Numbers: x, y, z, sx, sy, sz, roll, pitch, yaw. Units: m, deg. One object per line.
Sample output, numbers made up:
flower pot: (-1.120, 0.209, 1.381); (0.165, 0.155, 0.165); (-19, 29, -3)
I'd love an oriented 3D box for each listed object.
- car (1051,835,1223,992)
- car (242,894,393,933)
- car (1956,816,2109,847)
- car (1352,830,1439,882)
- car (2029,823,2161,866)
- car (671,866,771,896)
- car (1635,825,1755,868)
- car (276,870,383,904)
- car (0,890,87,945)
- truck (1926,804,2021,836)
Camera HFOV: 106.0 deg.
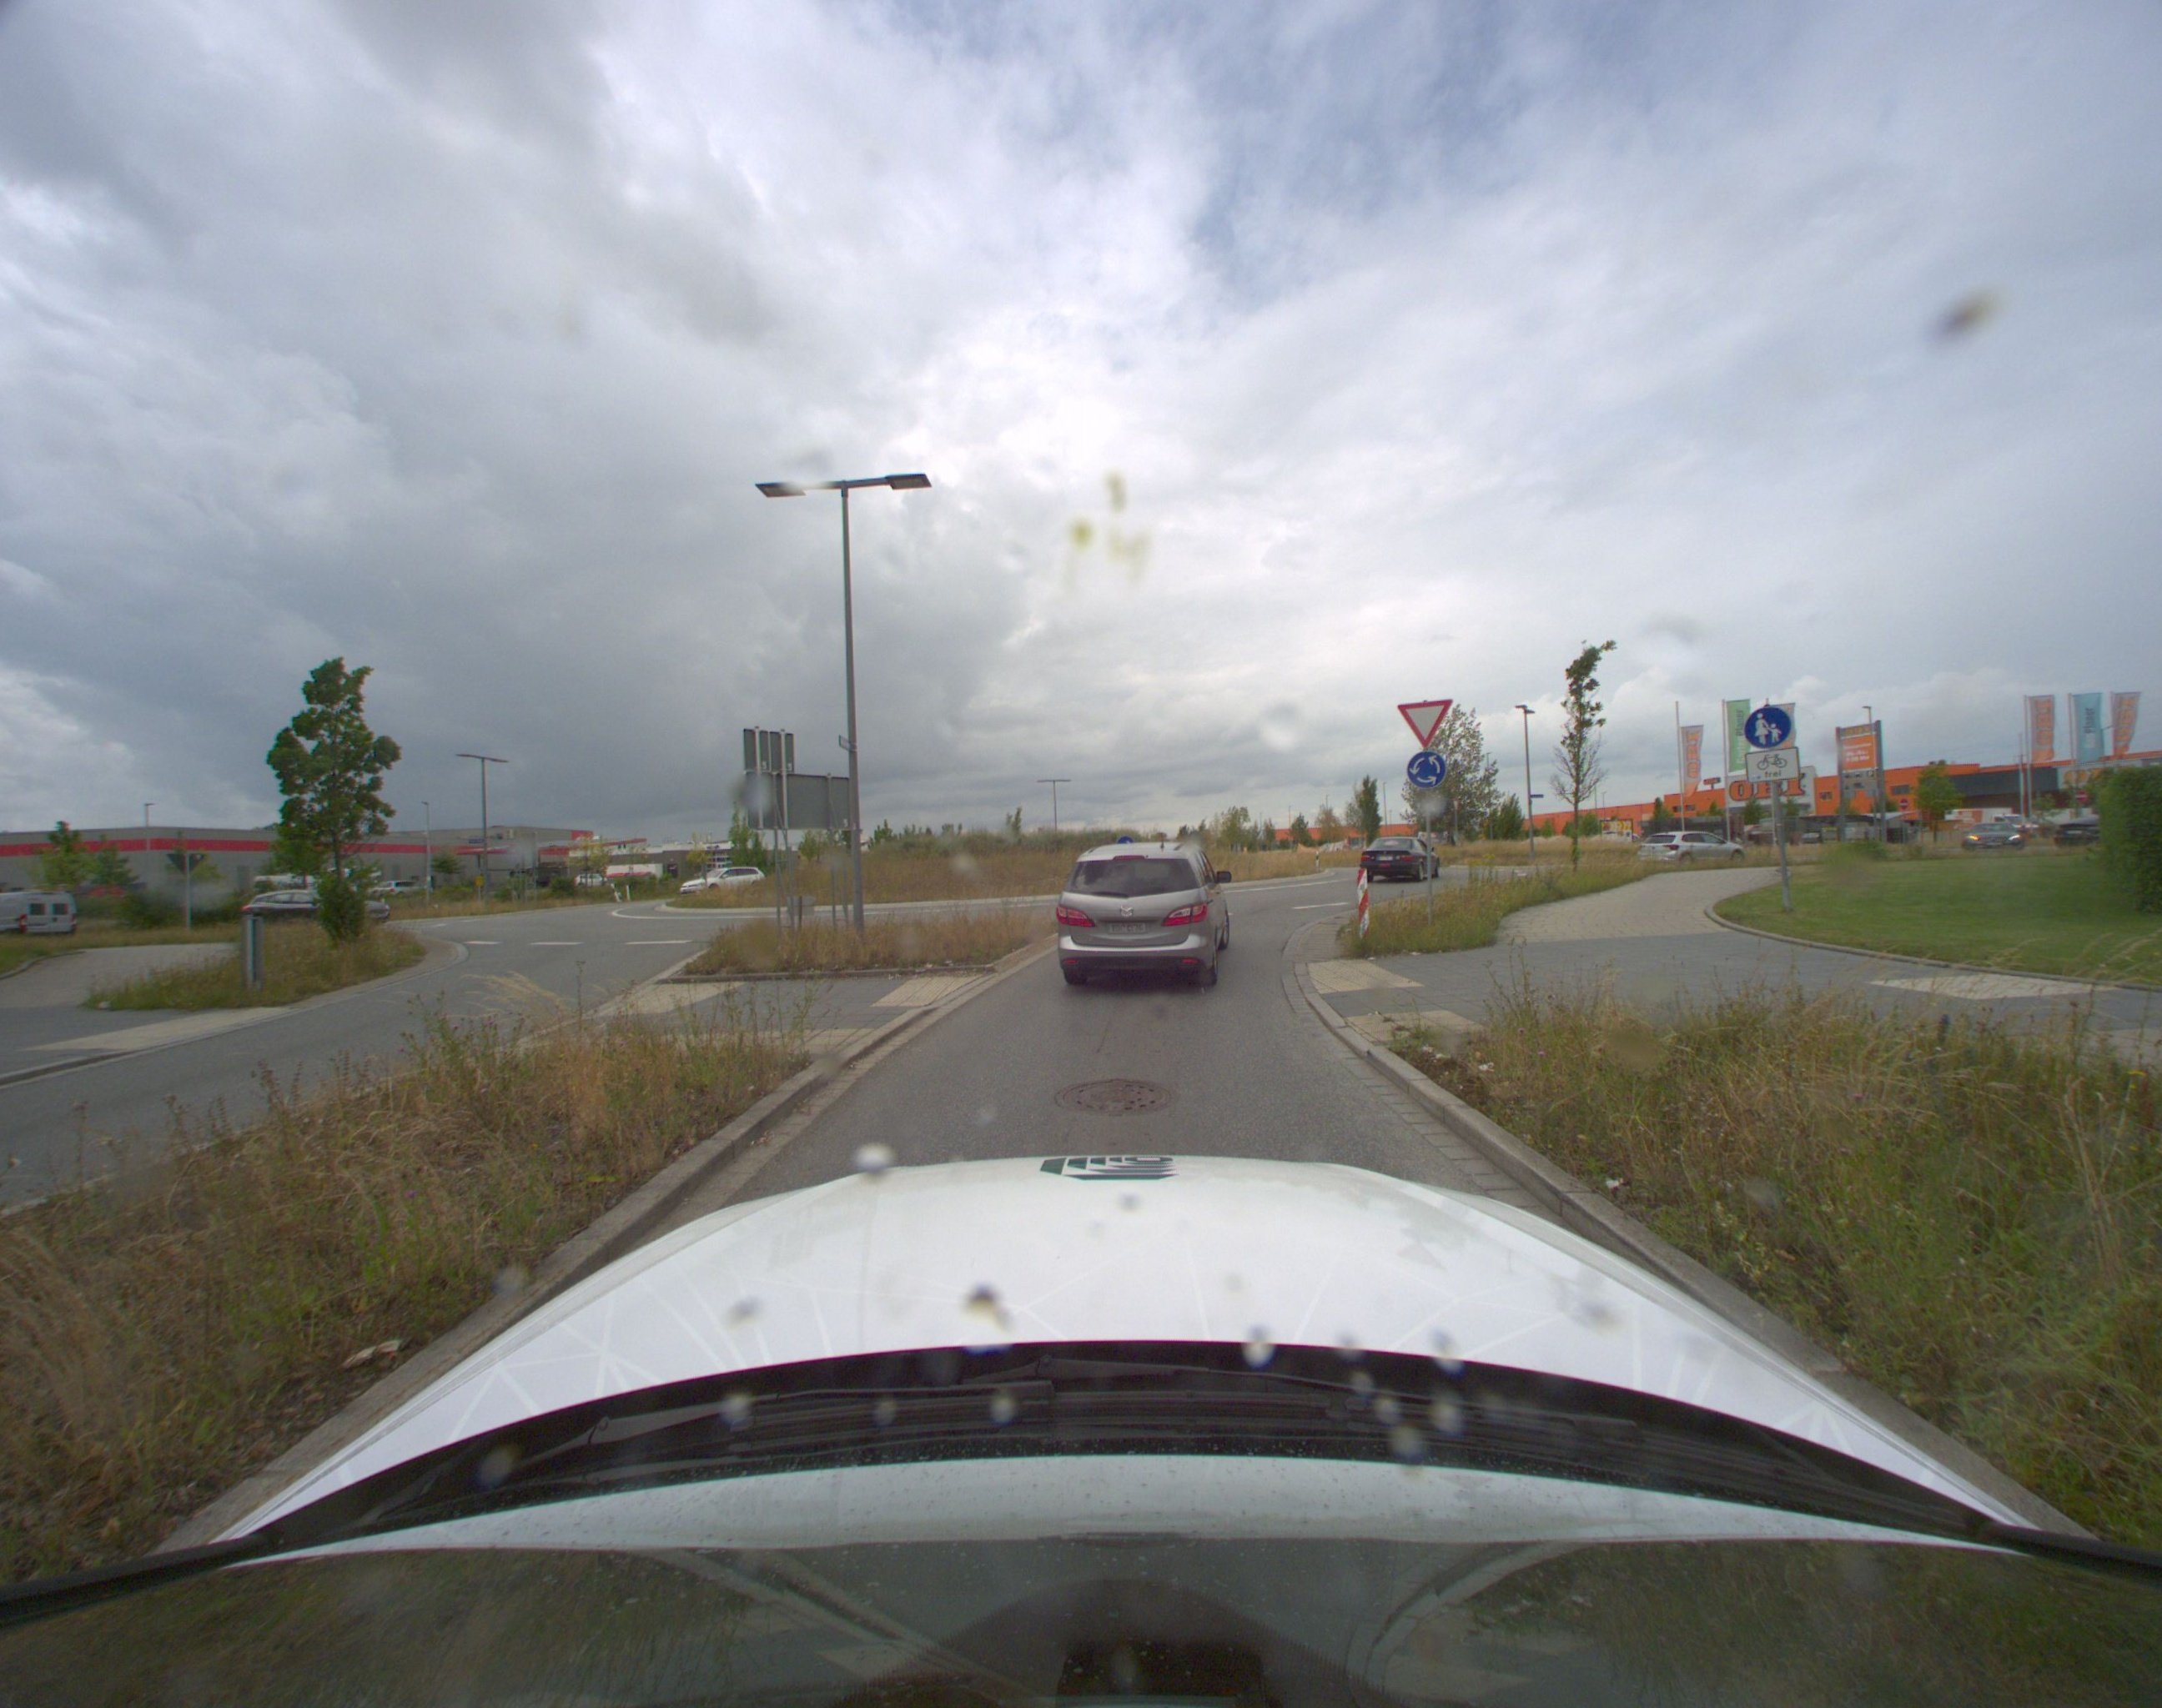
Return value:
car: (0.913, 0.580, 10.444); (1.727, 1.598, 4.010); (-1, 1, 10)
car: (-27.074, 2.101, 28.990); (3.581, 1.251, 1.671); (0, -2, -8)
car: (45.340, -1.044, 38.908); (4.647, 1.403, 1.933); (-1, 0, 7)
car: (9.726, -0.001, 24.979); (1.721, 1.403, 4.024); (0, 2, 32)
car: (42.685, -0.404, 33.683); (4.745, 1.498, 1.944); (-3, 1, -1)
car: (-18.247, 1.371, 41.521); (1.706, 1.409, 4.669); (-1, -2, 25)
car: (23.710, -0.332, 31.469); (3.999, 1.463, 1.802); (-3, 2, -19)
car: (-66.885, 2.923, 72.729); (2.455, 2.820, 7.685); (-1, -2, -1)
car: (-49.789, 2.889, 37.107); (5.683, 2.387, 2.277); (0, -2, -5)
truck: (82.266, -3.100, 75.189); (2.429, 2.484, 5.538); (0, -2, -6)
